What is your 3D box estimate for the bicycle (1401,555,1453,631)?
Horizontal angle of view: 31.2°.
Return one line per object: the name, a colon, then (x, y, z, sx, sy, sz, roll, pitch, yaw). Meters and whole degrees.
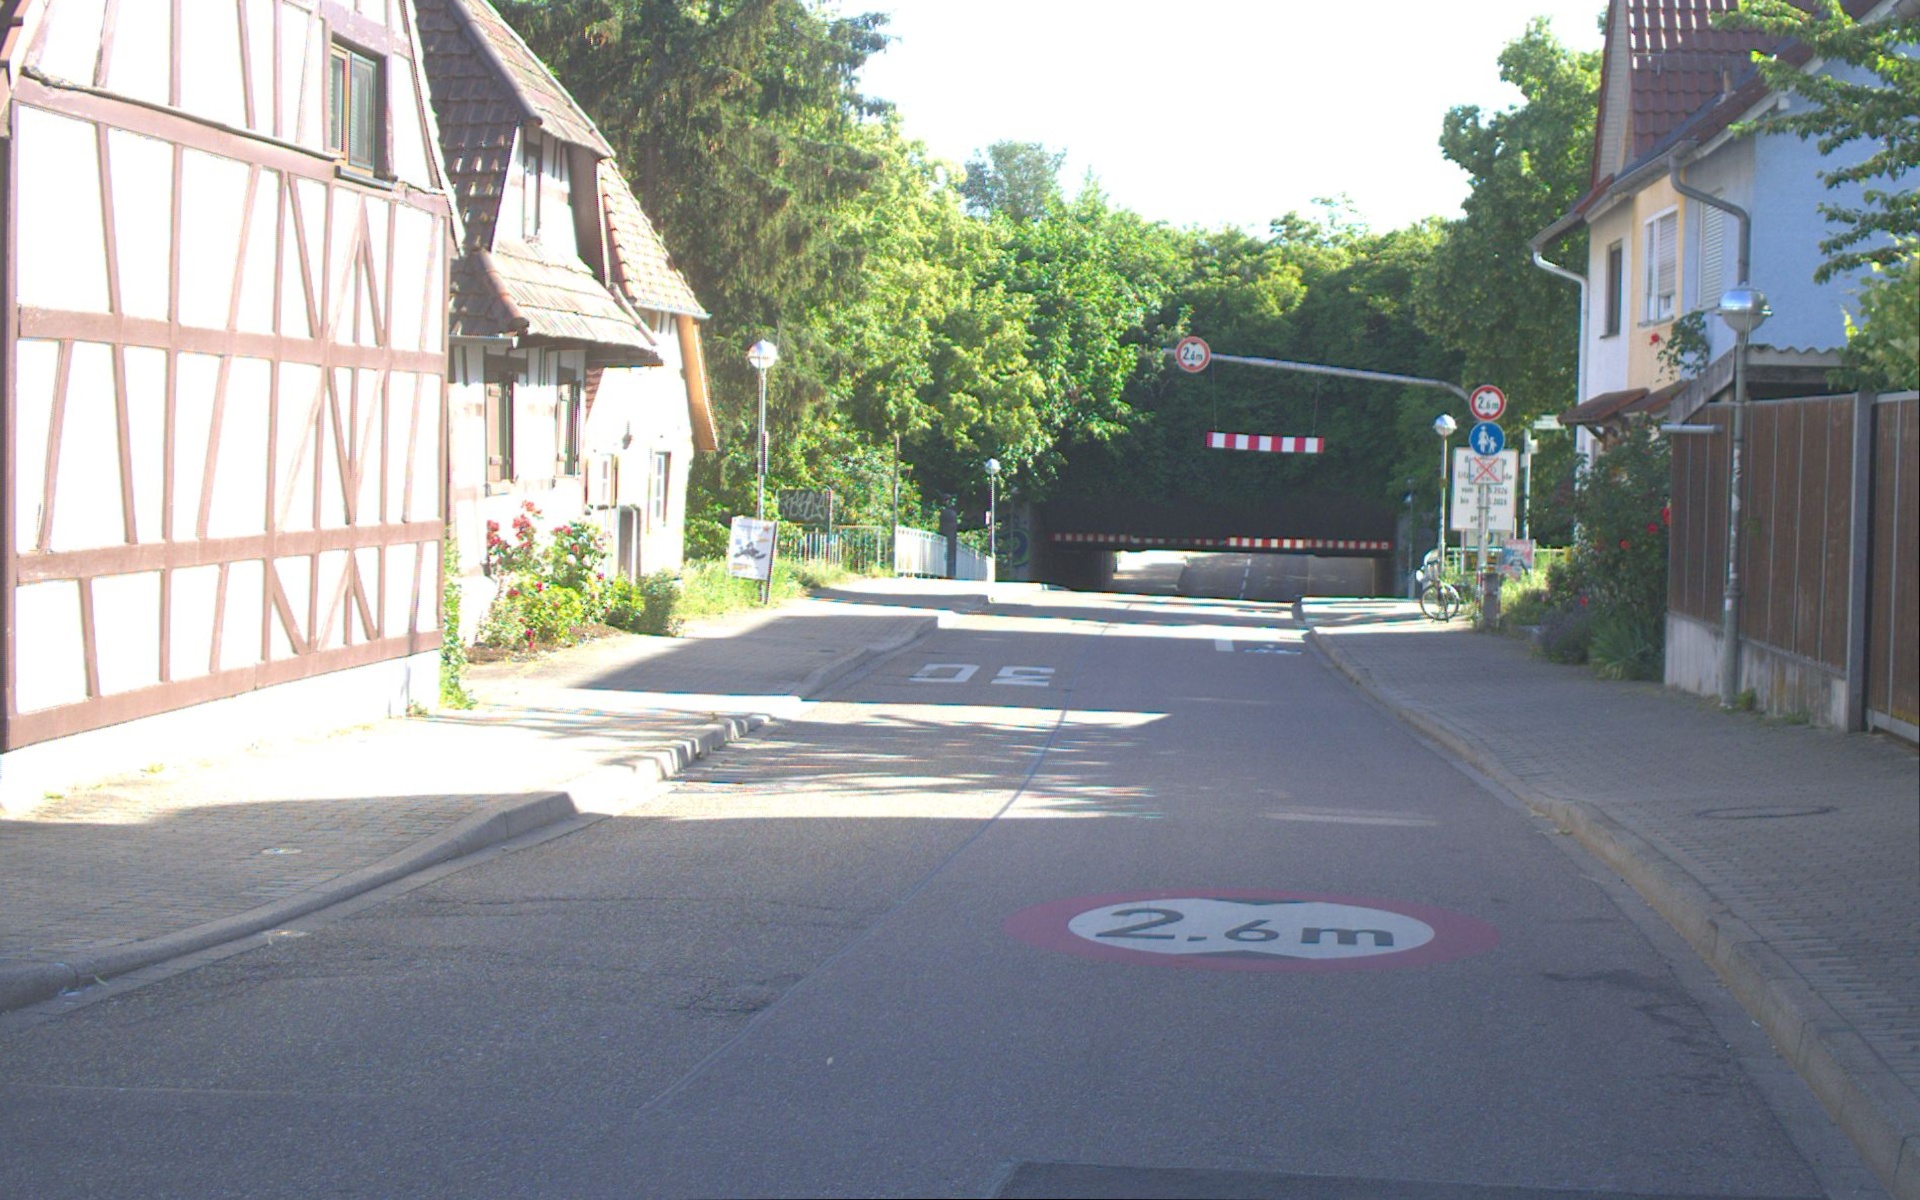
bicycle: (7.539, -0.119, 55.521, 0.689, 1.153, 1.539, -2, 1, 4)
